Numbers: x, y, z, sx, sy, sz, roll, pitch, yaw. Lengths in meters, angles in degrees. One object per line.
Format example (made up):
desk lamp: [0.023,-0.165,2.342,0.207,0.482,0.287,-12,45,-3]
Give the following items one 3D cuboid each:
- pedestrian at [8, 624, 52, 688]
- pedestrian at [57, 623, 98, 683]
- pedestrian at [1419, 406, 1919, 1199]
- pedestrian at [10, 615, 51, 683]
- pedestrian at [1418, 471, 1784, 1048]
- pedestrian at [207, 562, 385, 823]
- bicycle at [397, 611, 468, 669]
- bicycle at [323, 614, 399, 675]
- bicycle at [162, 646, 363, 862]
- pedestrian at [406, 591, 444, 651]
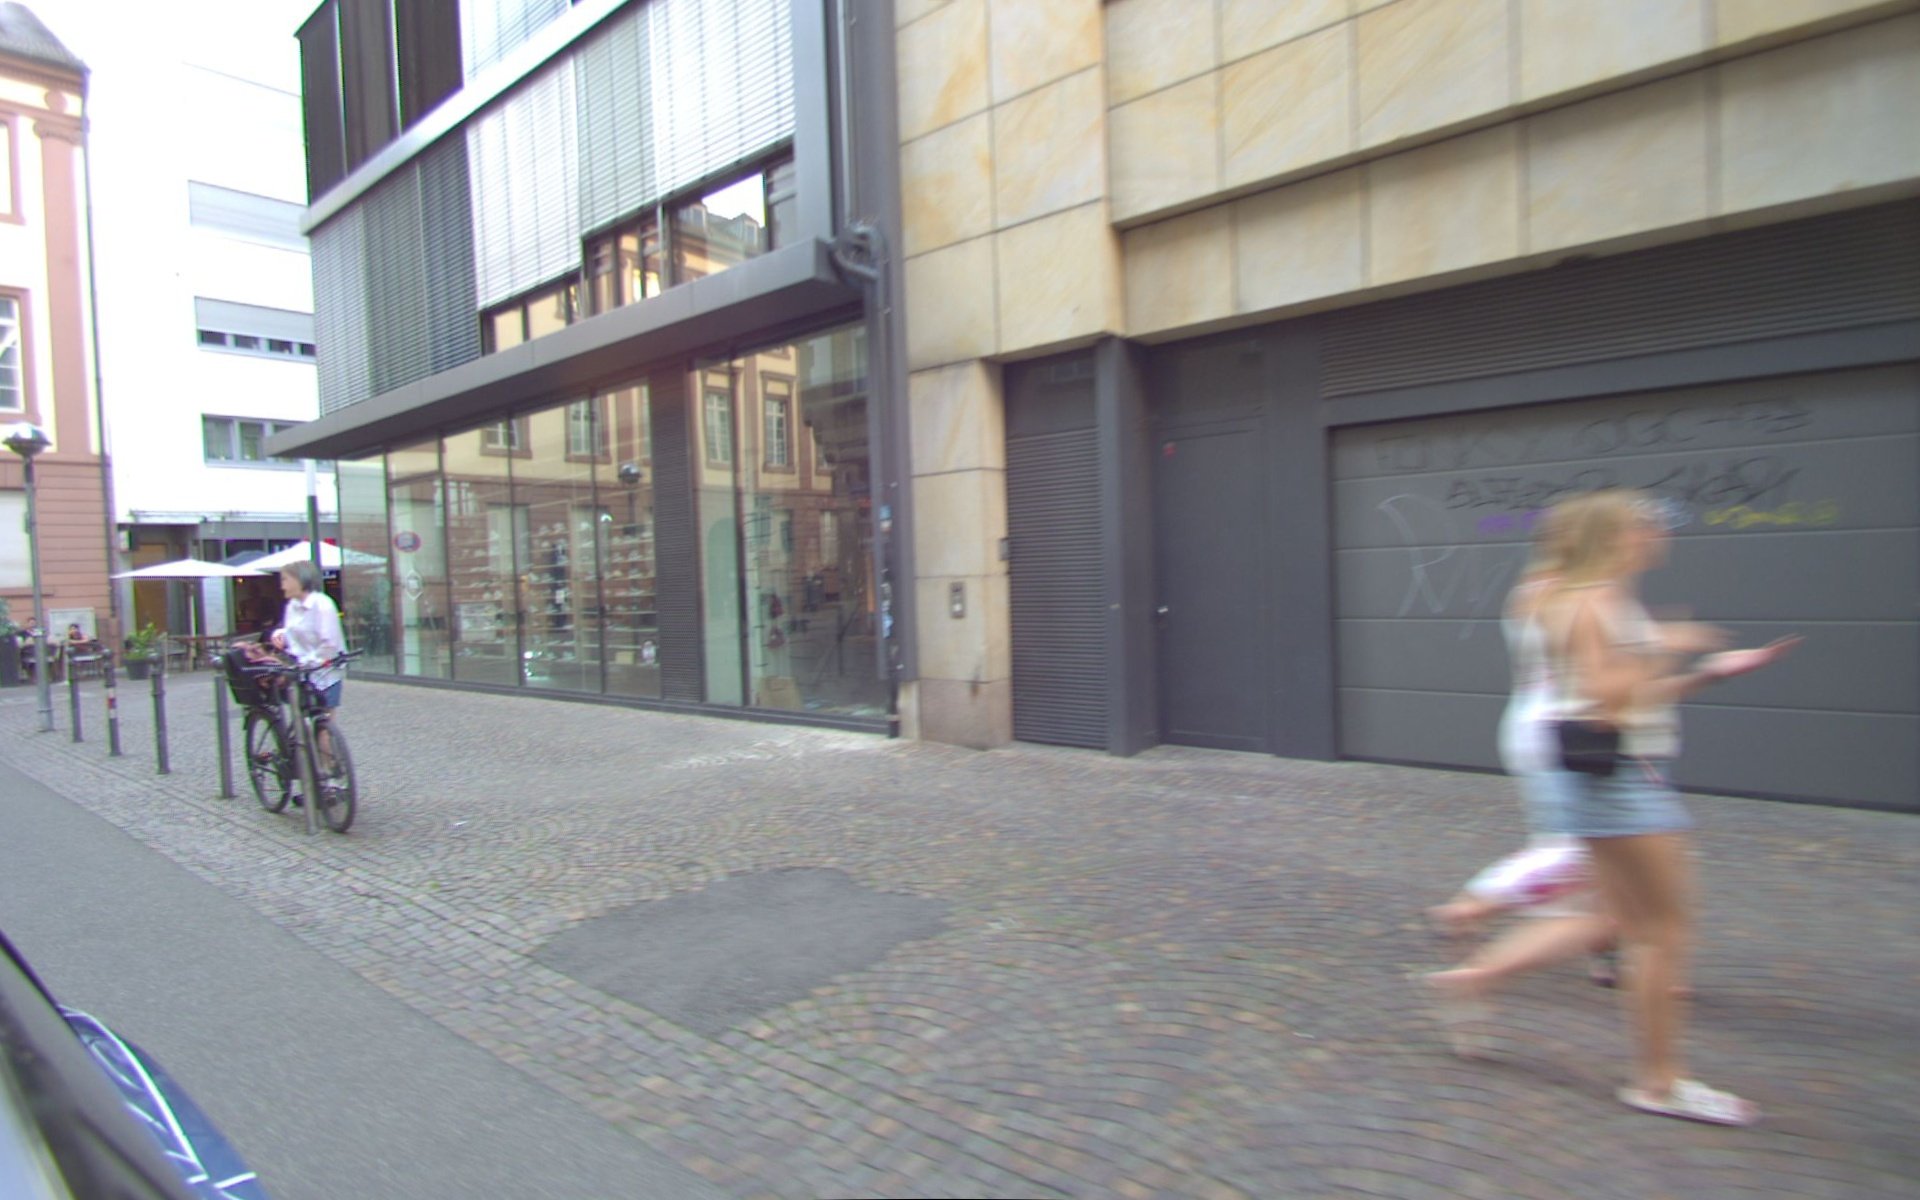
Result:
pedestrian: [-18.440,1.098,20.062,0.461,1.220,0.554,-2,1,42]
pedestrian: [-18.788,1.126,21.545,0.524,1.220,0.542,-2,1,42]
pedestrian: [1.809,0.457,2.713,0.942,1.742,0.803,-2,1,21]
pedestrian: [-19.407,1.013,21.122,0.489,1.359,0.542,-2,1,42]
pedestrian: [2.065,0.468,3.390,0.854,1.677,0.673,-2,1,19]
pedestrian: [-4.679,0.615,7.178,0.585,1.731,0.768,-3,2,9]
bicycle: [-11.182,0.855,21.427,1.839,1.159,0.602,-3,0,39]
bicycle: [-11.865,0.894,20.027,1.672,1.121,0.700,-3,0,39]
bicycle: [-4.571,0.912,6.571,1.913,1.162,0.527,-1,3,40]
pedestrian: [-15.510,0.603,29.339,0.618,1.678,0.668,-2,0,12]
